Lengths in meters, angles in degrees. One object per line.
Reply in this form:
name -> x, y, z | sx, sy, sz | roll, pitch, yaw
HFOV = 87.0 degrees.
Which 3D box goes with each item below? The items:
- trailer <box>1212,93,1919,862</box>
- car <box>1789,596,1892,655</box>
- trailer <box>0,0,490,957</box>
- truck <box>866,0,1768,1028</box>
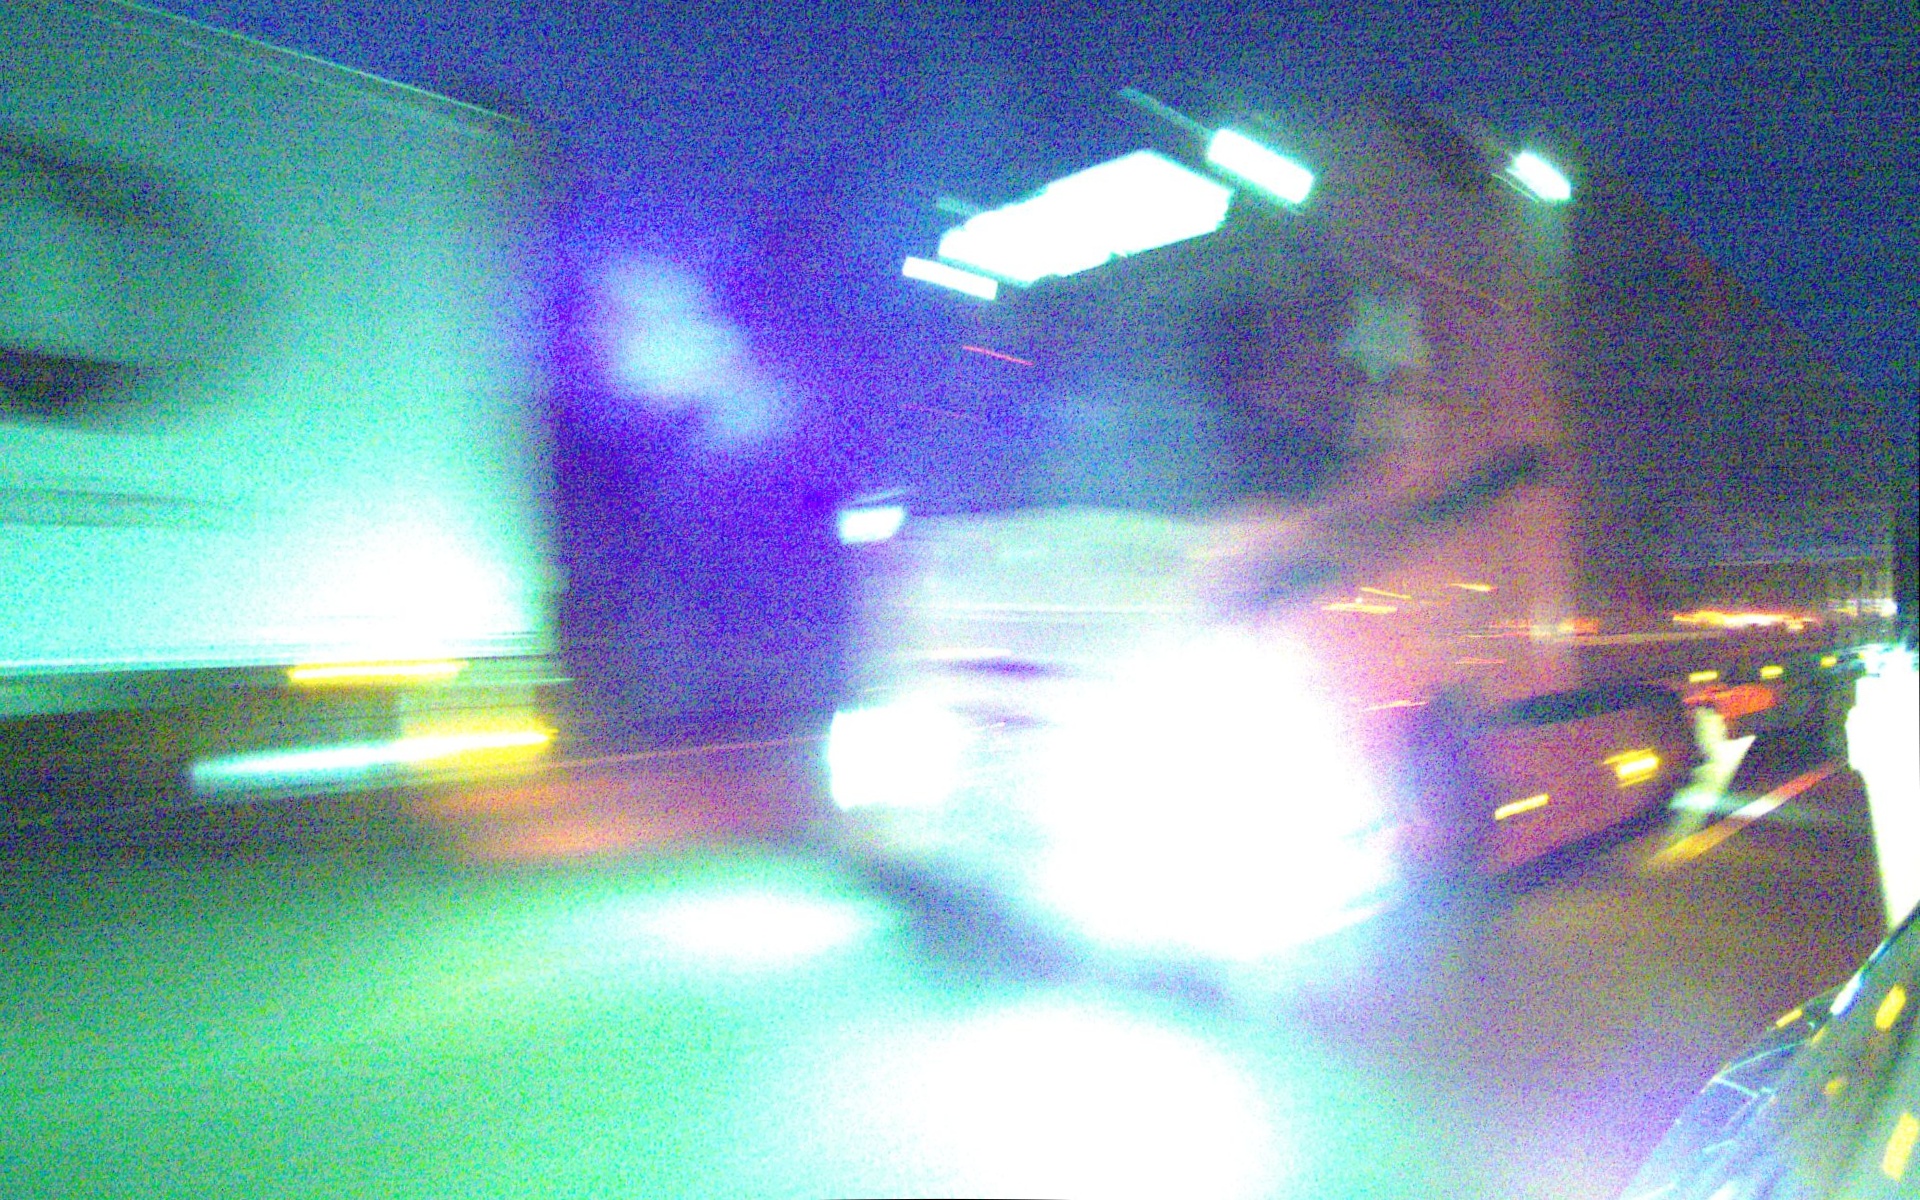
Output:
trailer -> 7.821, -0.688, 10.999 | 13.273, 4.260, 2.747 | 0, -1, -41
car -> 24.004, 0.642, 27.550 | 4.178, 1.485, 1.822 | 0, -1, -45
trailer -> -6.996, -0.626, 3.038 | 9.833, 4.124, 2.595 | 0, -1, -41
truck -> 2.844, -0.675, 6.653 | 6.605, 4.260, 2.666 | 0, -1, -41
